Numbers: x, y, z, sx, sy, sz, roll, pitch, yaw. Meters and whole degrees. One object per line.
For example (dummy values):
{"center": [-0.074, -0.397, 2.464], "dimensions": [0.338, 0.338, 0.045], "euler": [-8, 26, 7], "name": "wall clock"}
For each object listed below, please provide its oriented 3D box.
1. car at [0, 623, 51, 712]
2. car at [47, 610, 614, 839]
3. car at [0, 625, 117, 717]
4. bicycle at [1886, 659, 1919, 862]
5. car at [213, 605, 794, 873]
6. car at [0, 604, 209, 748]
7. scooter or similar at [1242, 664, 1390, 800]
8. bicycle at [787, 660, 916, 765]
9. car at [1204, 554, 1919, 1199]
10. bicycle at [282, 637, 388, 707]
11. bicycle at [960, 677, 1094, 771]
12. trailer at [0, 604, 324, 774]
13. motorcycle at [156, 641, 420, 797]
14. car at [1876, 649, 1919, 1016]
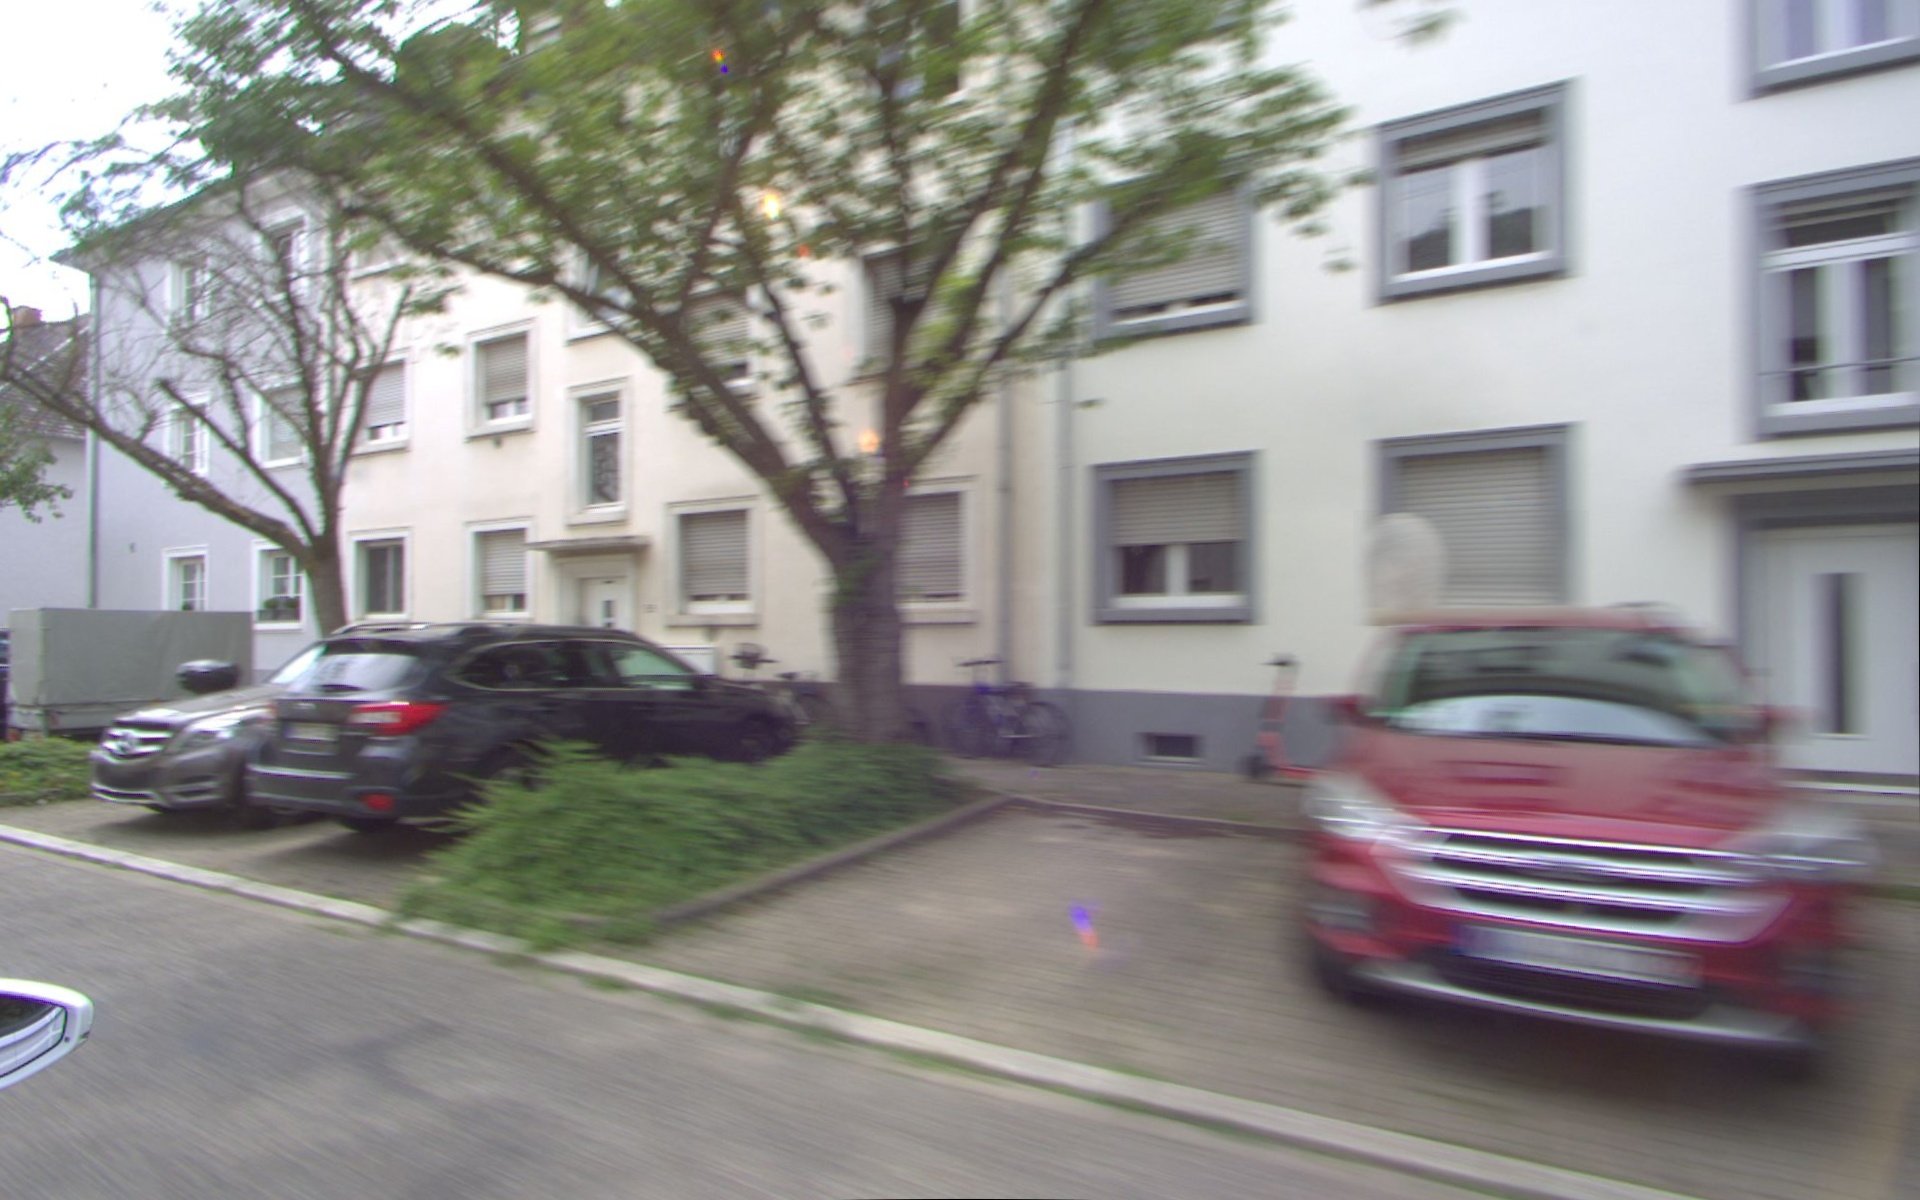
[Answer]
{"center": [-18.348, 1.225, 16.969], "dimensions": [1.740, 1.550, 3.986], "euler": [-1, 0, 26], "name": "car"}
{"center": [-5.581, 0.939, 9.546], "dimensions": [1.873, 1.619, 4.213], "euler": [-1, 0, 26], "name": "car"}
{"center": [-16.352, 1.175, 16.040], "dimensions": [1.740, 1.429, 3.986], "euler": [-1, 0, 26], "name": "car"}
{"center": [6.925, 0.978, 5.799], "dimensions": [2.189, 1.233, 0.651], "euler": [-1, -1, 21], "name": "bicycle"}
{"center": [-3.424, 0.885, 8.448], "dimensions": [1.874, 1.619, 4.213], "euler": [-1, 0, 26], "name": "car"}
{"center": [-12.525, 0.955, 12.854], "dimensions": [1.876, 1.758, 4.208], "euler": [-1, 0, 31], "name": "car"}
{"center": [3.281, 1.187, 9.267], "dimensions": [1.235, 1.163, 0.363], "euler": [-1, 0, 32], "name": "scooter or similar"}
{"center": [-1.254, 1.259, 11.455], "dimensions": [1.451, 1.095, 0.502], "euler": [-1, 0, 32], "name": "bicycle"}
{"center": [2.749, 0.747, 4.900], "dimensions": [1.876, 1.699, 4.208], "euler": [-1, 0, 31], "name": "car"}
{"center": [-10.613, 1.204, 16.989], "dimensions": [1.976, 1.111, 0.685], "euler": [-1, 0, 30], "name": "bicycle"}
{"center": [0.699, 1.308, 10.760], "dimensions": [1.451, 0.917, 0.320], "euler": [-1, 0, 32], "name": "bicycle"}
{"center": [-9.980, 0.996, 12.653], "dimensions": [1.381, 1.855, 2.955], "euler": [-1, 0, 32], "name": "trailer"}
{"center": [-6.903, 1.154, 10.450], "dimensions": [0.703, 1.427, 2.226], "euler": [0, -2, 26], "name": "motorcycle"}
{"center": [3.952, 0.940, 2.313], "dimensions": [1.739, 1.474, 3.983], "euler": [-1, 0, 28], "name": "car"}
